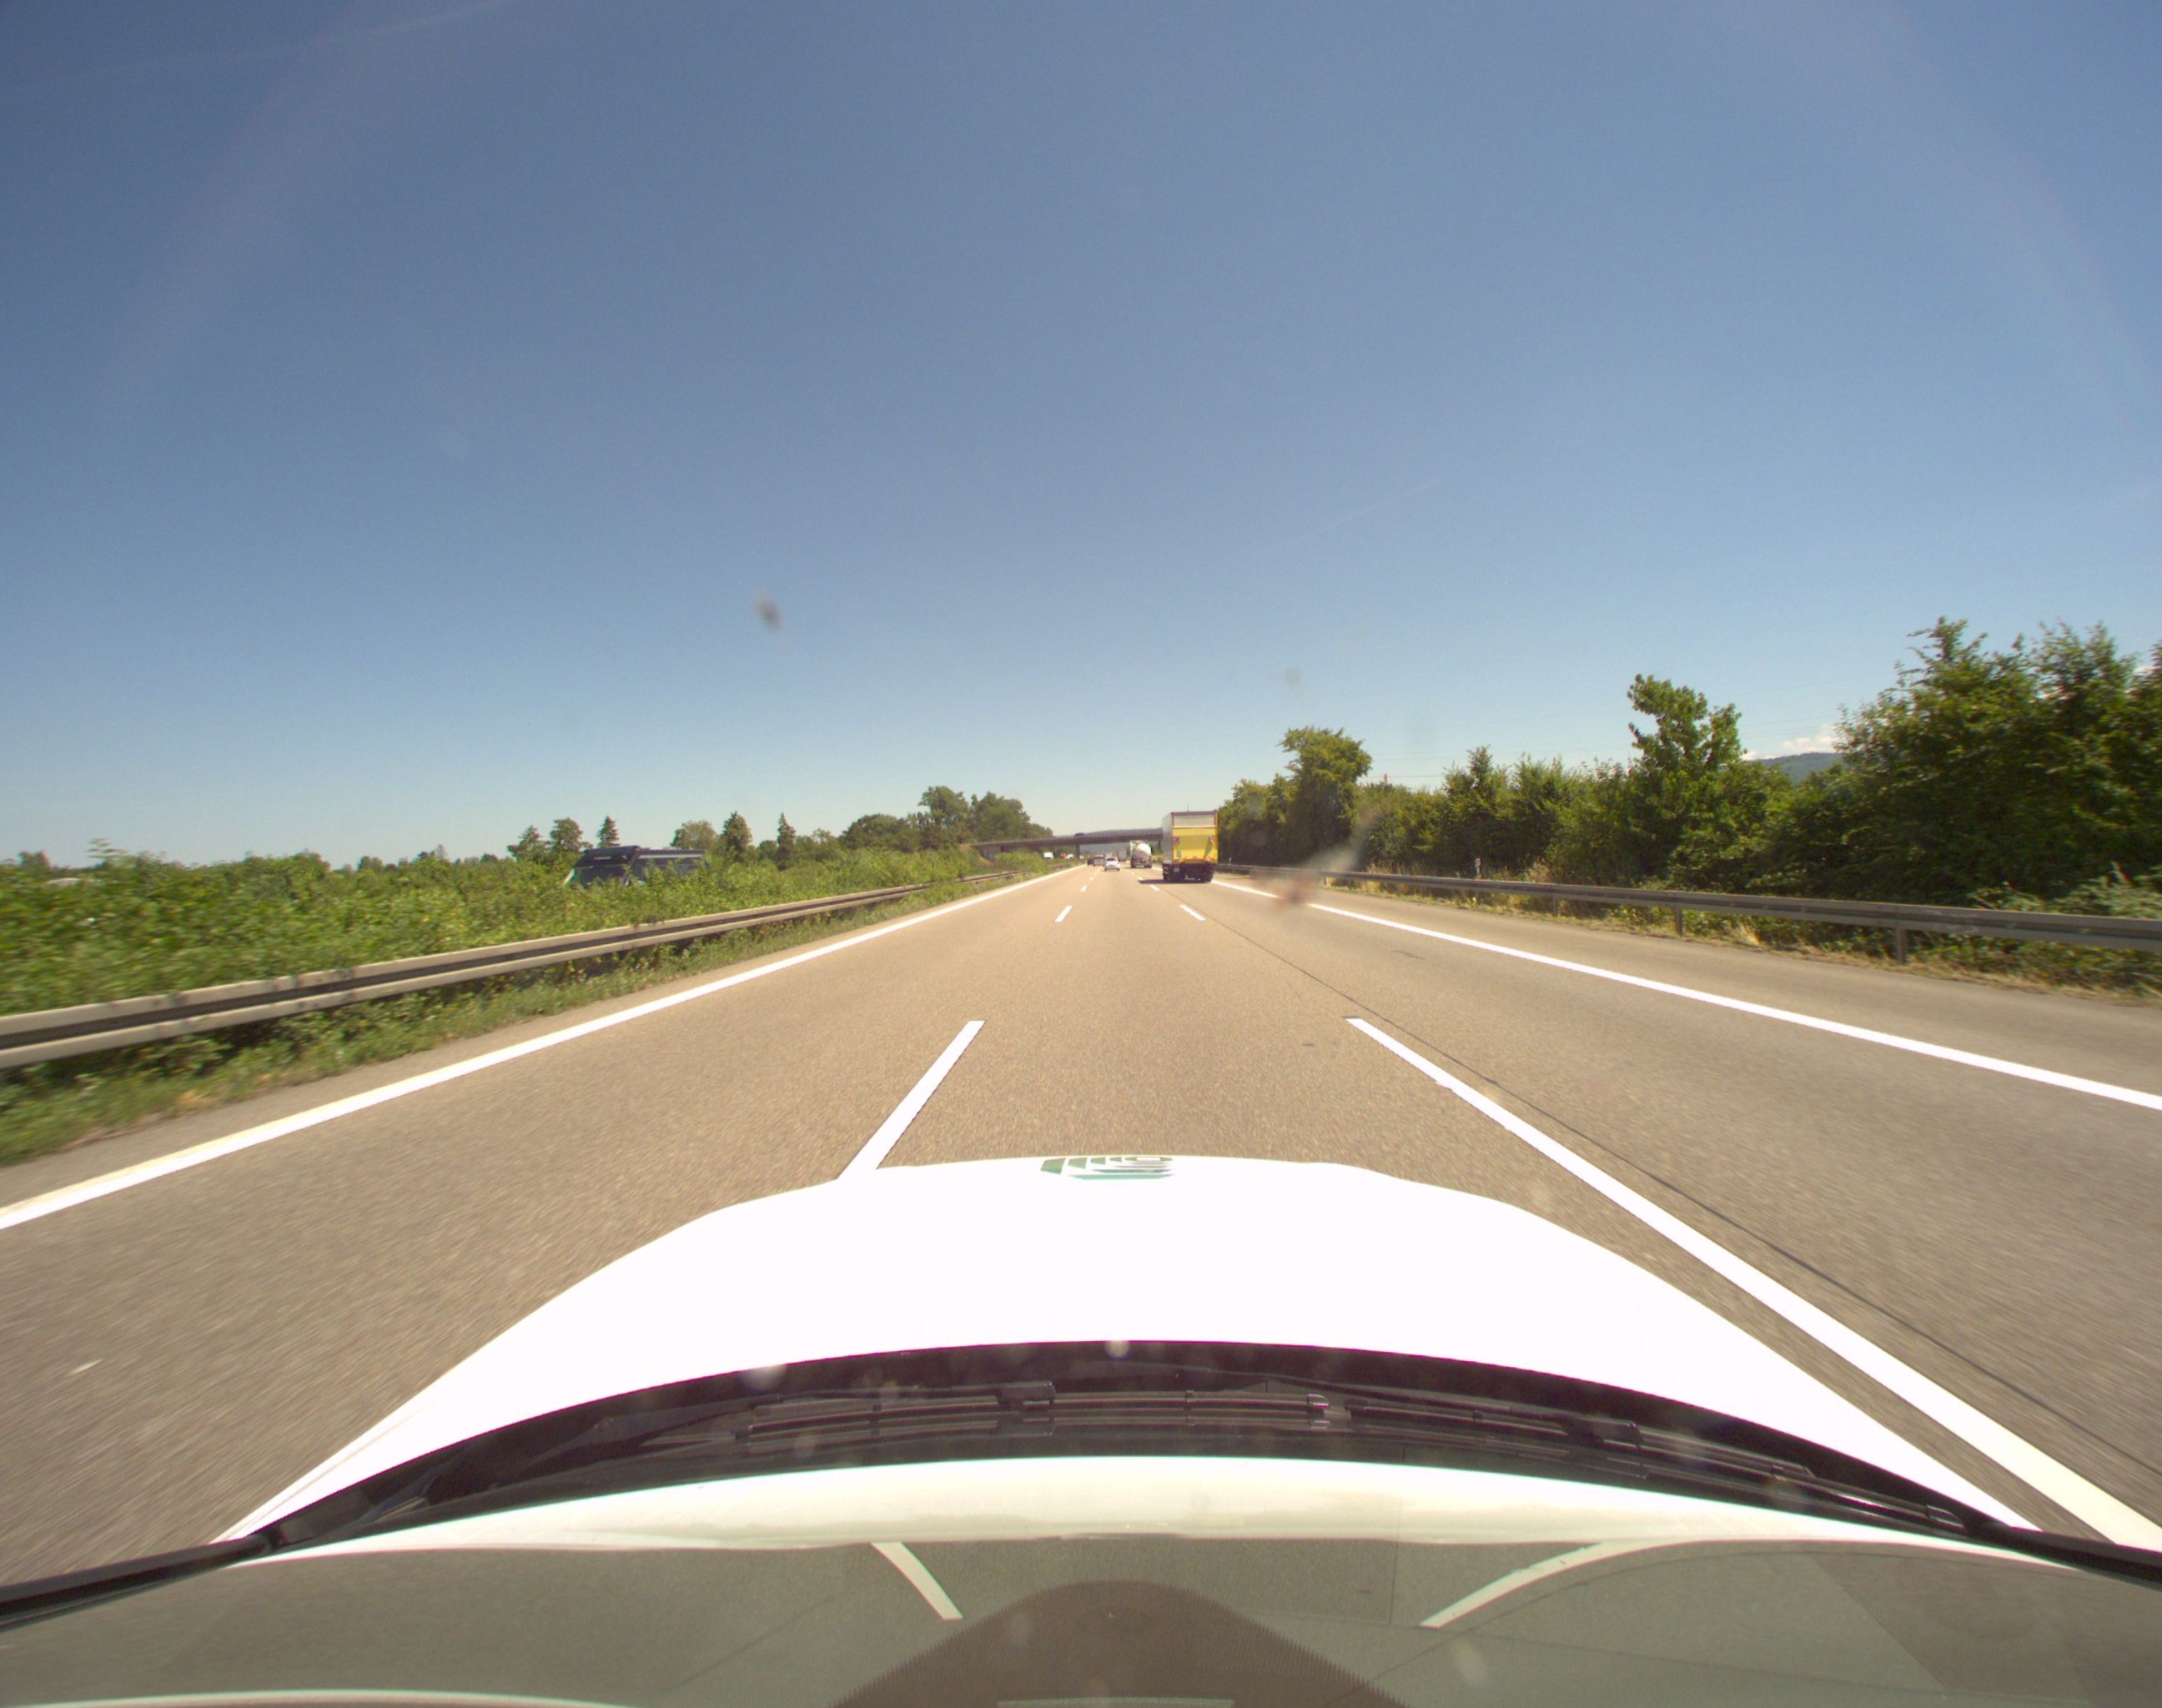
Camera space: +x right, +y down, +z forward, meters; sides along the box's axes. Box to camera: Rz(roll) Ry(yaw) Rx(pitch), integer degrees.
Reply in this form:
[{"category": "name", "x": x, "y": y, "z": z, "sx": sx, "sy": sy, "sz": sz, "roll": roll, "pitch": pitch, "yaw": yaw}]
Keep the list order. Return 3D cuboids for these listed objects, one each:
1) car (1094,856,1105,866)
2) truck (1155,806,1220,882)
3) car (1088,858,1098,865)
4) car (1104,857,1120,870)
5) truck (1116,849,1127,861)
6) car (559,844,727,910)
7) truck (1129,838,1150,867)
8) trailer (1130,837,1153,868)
[{"category": "car", "x": 3.166, "y": 1.129, "z": 138.534, "sx": 1.844, "sy": 1.633, "sz": 4.002, "roll": 0, "pitch": 0, "yaw": 2}, {"category": "truck", "x": 6.366, "y": -0.537, "z": 50.206, "sx": 2.922, "sy": 4.200, "sz": 10.685, "roll": 0, "pitch": 0, "yaw": 2}, {"category": "car", "x": 2.329, "y": 1.490, "z": 159.681, "sx": 1.828, "sy": 1.386, "sz": 4.002, "roll": 0, "pitch": 0, "yaw": 2}, {"category": "car", "x": 3.496, "y": 1.027, "z": 91.432, "sx": 1.799, "sy": 1.468, "sz": 4.002, "roll": 0, "pitch": 0, "yaw": 2}, {"category": "truck", "x": 13.054, "y": 0.287, "z": 261.034, "sx": 3.253, "sy": 3.857, "sz": 11.635, "roll": 0, "pitch": 0, "yaw": 2}, {"category": "car", "x": -13.807, "y": 0.679, "z": 26.193, "sx": 2.250, "sy": 1.899, "sz": 5.521, "roll": 0, "pitch": 0, "yaw": 2}, {"category": "truck", "x": 8.290, "y": -0.183, "z": 115.901, "sx": 2.563, "sy": 4.072, "sz": 6.394, "roll": 0, "pitch": 0, "yaw": 1}, {"category": "trailer", "x": 8.171, "y": -0.205, "z": 111.157, "sx": 2.570, "sy": 4.074, "sz": 11.106, "roll": 0, "pitch": 0, "yaw": 2}]
